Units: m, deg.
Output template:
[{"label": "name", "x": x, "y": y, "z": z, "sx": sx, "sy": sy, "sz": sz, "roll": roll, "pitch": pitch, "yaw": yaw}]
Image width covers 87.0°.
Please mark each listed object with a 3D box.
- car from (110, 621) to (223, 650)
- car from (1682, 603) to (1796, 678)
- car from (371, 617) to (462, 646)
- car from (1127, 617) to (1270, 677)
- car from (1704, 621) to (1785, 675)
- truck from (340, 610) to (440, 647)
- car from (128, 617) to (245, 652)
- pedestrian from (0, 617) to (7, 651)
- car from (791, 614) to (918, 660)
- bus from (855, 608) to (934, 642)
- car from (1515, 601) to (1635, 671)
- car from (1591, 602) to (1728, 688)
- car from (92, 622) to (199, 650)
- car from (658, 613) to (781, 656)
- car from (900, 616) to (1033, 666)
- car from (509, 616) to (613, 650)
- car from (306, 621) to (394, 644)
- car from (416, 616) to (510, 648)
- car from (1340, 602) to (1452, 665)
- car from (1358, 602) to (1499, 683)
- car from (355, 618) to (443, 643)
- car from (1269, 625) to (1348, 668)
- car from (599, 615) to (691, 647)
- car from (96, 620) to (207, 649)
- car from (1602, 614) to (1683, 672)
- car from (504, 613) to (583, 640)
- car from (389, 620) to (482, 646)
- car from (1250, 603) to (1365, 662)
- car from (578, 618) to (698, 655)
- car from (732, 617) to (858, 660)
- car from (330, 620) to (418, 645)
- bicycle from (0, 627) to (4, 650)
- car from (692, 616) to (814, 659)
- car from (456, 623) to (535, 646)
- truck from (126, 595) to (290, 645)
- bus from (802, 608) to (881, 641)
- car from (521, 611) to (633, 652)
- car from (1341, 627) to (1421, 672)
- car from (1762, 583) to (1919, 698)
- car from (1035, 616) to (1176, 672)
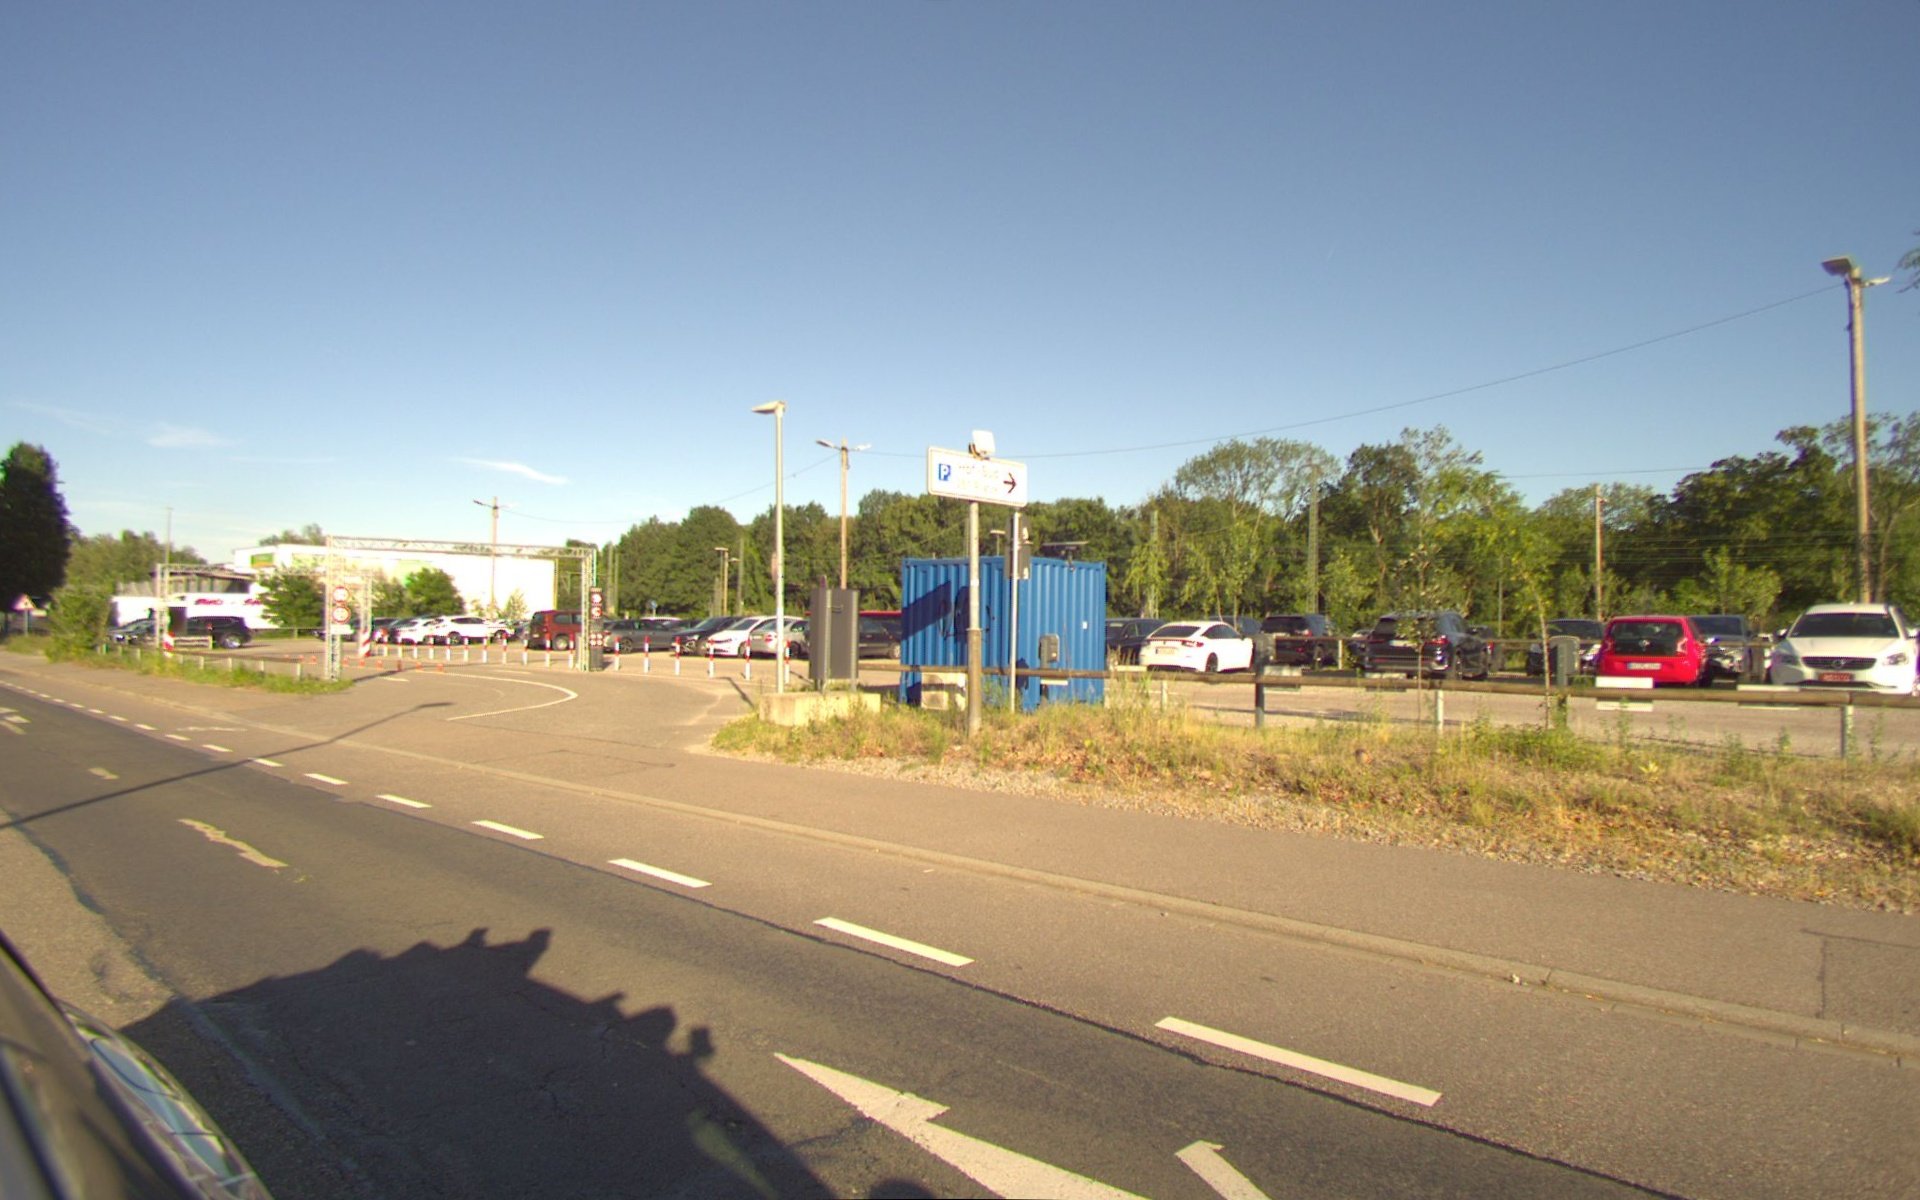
[{"label": "car", "x": -41.397, "y": 1.832, "z": 52.854, "sx": 2.048, "sy": 1.473, "sz": 4.381, "roll": -1, "pitch": -2, "yaw": 42}, {"label": "car", "x": 17.696, "y": 0.868, "z": 22.921, "sx": 1.877, "sy": 1.531, "sz": 3.843, "roll": -2, "pitch": -1, "yaw": 40}, {"label": "car", "x": -30.980, "y": 1.801, "z": 57.748, "sx": 2.045, "sy": 1.590, "sz": 4.121, "roll": -1, "pitch": -2, "yaw": 37}, {"label": "car", "x": 6.249, "y": 1.162, "z": 26.206, "sx": 1.877, "sy": 1.387, "sz": 4.278, "roll": -2, "pitch": -1, "yaw": 40}, {"label": "car", "x": 24.070, "y": 1.431, "z": 31.007, "sx": 1.753, "sy": 1.506, "sz": 3.683, "roll": -2, "pitch": -2, "yaw": 41}, {"label": "truck", "x": -44.539, "y": 2.217, "z": 79.270, "sx": 2.314, "sy": 2.829, "sz": 6.430, "roll": -1, "pitch": -2, "yaw": 39}, {"label": "car", "x": -38.988, "y": 1.708, "z": 51.100, "sx": 2.048, "sy": 1.683, "sz": 4.381, "roll": -1, "pitch": -2, "yaw": 42}, {"label": "pedestrian", "x": -49.387, "y": 1.758, "z": 51.829, "sx": 1.057, "sy": 1.734, "sz": 0.713, "roll": -1, "pitch": -2, "yaw": 41}, {"label": "car", "x": -3.617, "y": 1.248, "z": 35.274, "sx": 1.877, "sy": 1.474, "sz": 4.276, "roll": -2, "pitch": -1, "yaw": 41}, {"label": "bus", "x": -4.716, "y": 1.800, "z": 72.607, "sx": 5.588, "sy": 2.366, "sz": 2.512, "roll": -1, "pitch": -2, "yaw": 43}, {"label": "car", "x": 15.370, "y": 0.857, "z": 25.222, "sx": 1.878, "sy": 1.616, "sz": 3.841, "roll": -2, "pitch": -1, "yaw": 42}, {"label": "car", "x": 13.966, "y": 0.835, "z": 20.130, "sx": 1.877, "sy": 1.531, "sz": 3.843, "roll": -2, "pitch": -1, "yaw": 40}, {"label": "car", "x": -45.680, "y": 1.980, "z": 56.809, "sx": 2.048, "sy": 1.473, "sz": 4.381, "roll": -1, "pitch": -2, "yaw": 42}, {"label": "car", "x": -9.442, "y": 1.323, "z": 39.999, "sx": 1.856, "sy": 1.597, "sz": 4.528, "roll": -2, "pitch": -1, "yaw": 41}, {"label": "car", "x": 0.264, "y": 1.238, "z": 31.781, "sx": 1.877, "sy": 1.430, "sz": 4.278, "roll": -2, "pitch": -1, "yaw": 40}, {"label": "car", "x": -19.360, "y": 1.572, "z": 49.221, "sx": 1.856, "sy": 1.557, "sz": 4.321, "roll": -2, "pitch": -1, "yaw": 41}, {"label": "car", "x": -39.175, "y": 2.067, "z": 65.073, "sx": 2.045, "sy": 1.476, "sz": 4.361, "roll": -1, "pitch": -2, "yaw": 37}, {"label": "car", "x": -26.915, "y": 1.715, "z": 54.911, "sx": 1.964, "sy": 1.674, "sz": 4.120, "roll": -1, "pitch": -2, "yaw": 38}, {"label": "car", "x": 12.087, "y": 0.891, "z": 27.934, "sx": 1.805, "sy": 1.616, "sz": 3.843, "roll": -2, "pitch": -1, "yaw": 40}, {"label": "car", "x": 10.388, "y": 0.885, "z": 22.314, "sx": 1.877, "sy": 1.616, "sz": 3.843, "roll": -2, "pitch": -1, "yaw": 40}, {"label": "car", "x": -33.151, "y": 1.803, "z": 59.888, "sx": 2.045, "sy": 1.408, "sz": 4.121, "roll": -1, "pitch": -2, "yaw": 37}, {"label": "car", "x": 14.002, "y": 1.827, "z": 40.537, "sx": 1.753, "sy": 1.565, "sz": 3.683, "roll": -2, "pitch": -2, "yaw": 41}, {"label": "car", "x": -16.439, "y": 1.600, "z": 52.965, "sx": 1.856, "sy": 1.557, "sz": 4.321, "roll": -2, "pitch": -1, "yaw": 41}, {"label": "car", "x": -43.442, "y": 1.827, "z": 54.447, "sx": 2.048, "sy": 1.473, "sz": 4.381, "roll": -1, "pitch": -2, "yaw": 42}, {"label": "car", "x": 22.467, "y": 1.368, "z": 33.264, "sx": 1.753, "sy": 1.784, "sz": 3.683, "roll": -2, "pitch": -2, "yaw": 41}, {"label": "car", "x": -24.821, "y": 1.548, "z": 60.365, "sx": 1.911, "sy": 1.561, "sz": 3.949, "roll": -1, "pitch": -1, "yaw": 38}, {"label": "car", "x": -29.085, "y": 1.805, "z": 56.206, "sx": 2.045, "sy": 1.408, "sz": 4.121, "roll": -1, "pitch": -2, "yaw": 37}, {"label": "car", "x": 10.209, "y": 0.910, "z": 29.590, "sx": 1.877, "sy": 1.616, "sz": 3.842, "roll": -2, "pitch": -1, "yaw": 41}, {"label": "car", "x": -13.809, "y": 1.529, "z": 43.554, "sx": 1.991, "sy": 1.492, "sz": 4.525, "roll": -2, "pitch": -2, "yaw": 44}, {"label": "car", "x": -5.898, "y": 1.355, "z": 36.576, "sx": 1.877, "sy": 1.404, "sz": 4.276, "roll": -2, "pitch": -1, "yaw": 41}, {"label": "car", "x": -36.795, "y": 2.025, "z": 63.656, "sx": 2.045, "sy": 1.476, "sz": 4.361, "roll": -1, "pitch": -2, "yaw": 37}, {"label": "bicycle", "x": -49.391, "y": 1.955, "z": 51.837, "sx": 1.868, "sy": 1.157, "sz": 0.465, "roll": -1, "pitch": 0, "yaw": 41}, {"label": "car", "x": -7.809, "y": 1.380, "z": 38.488, "sx": 1.877, "sy": 1.535, "sz": 4.276, "roll": -2, "pitch": -1, "yaw": 41}, {"label": "car", "x": -29.460, "y": 2.136, "z": 64.259, "sx": 2.045, "sy": 1.408, "sz": 4.121, "roll": -1, "pitch": -2, "yaw": 37}, {"label": "truck", "x": -59.028, "y": 1.511, "z": 79.782, "sx": 2.774, "sy": 3.642, "sz": 9.996, "roll": 0, "pitch": 0, "yaw": 40}, {"label": "bus", "x": -9.038, "y": 1.874, "z": 76.577, "sx": 6.204, "sy": 2.366, "sz": 2.512, "roll": -1, "pitch": -2, "yaw": 43}, {"label": "car", "x": -17.742, "y": 1.437, "z": 46.996, "sx": 1.856, "sy": 1.819, "sz": 4.528, "roll": -2, "pitch": -1, "yaw": 41}, {"label": "car", "x": 15.995, "y": 1.830, "z": 38.379, "sx": 1.753, "sy": 1.565, "sz": 3.683, "roll": -2, "pitch": -2, "yaw": 41}, {"label": "car", "x": 15.673, "y": 0.649, "z": 17.736, "sx": 2.059, "sy": 1.754, "sz": 4.528, "roll": -2, "pitch": -2, "yaw": 44}, {"label": "car", "x": 4.091, "y": 1.158, "z": 27.983, "sx": 1.877, "sy": 1.387, "sz": 4.278, "roll": -2, "pitch": -1, "yaw": 40}]
